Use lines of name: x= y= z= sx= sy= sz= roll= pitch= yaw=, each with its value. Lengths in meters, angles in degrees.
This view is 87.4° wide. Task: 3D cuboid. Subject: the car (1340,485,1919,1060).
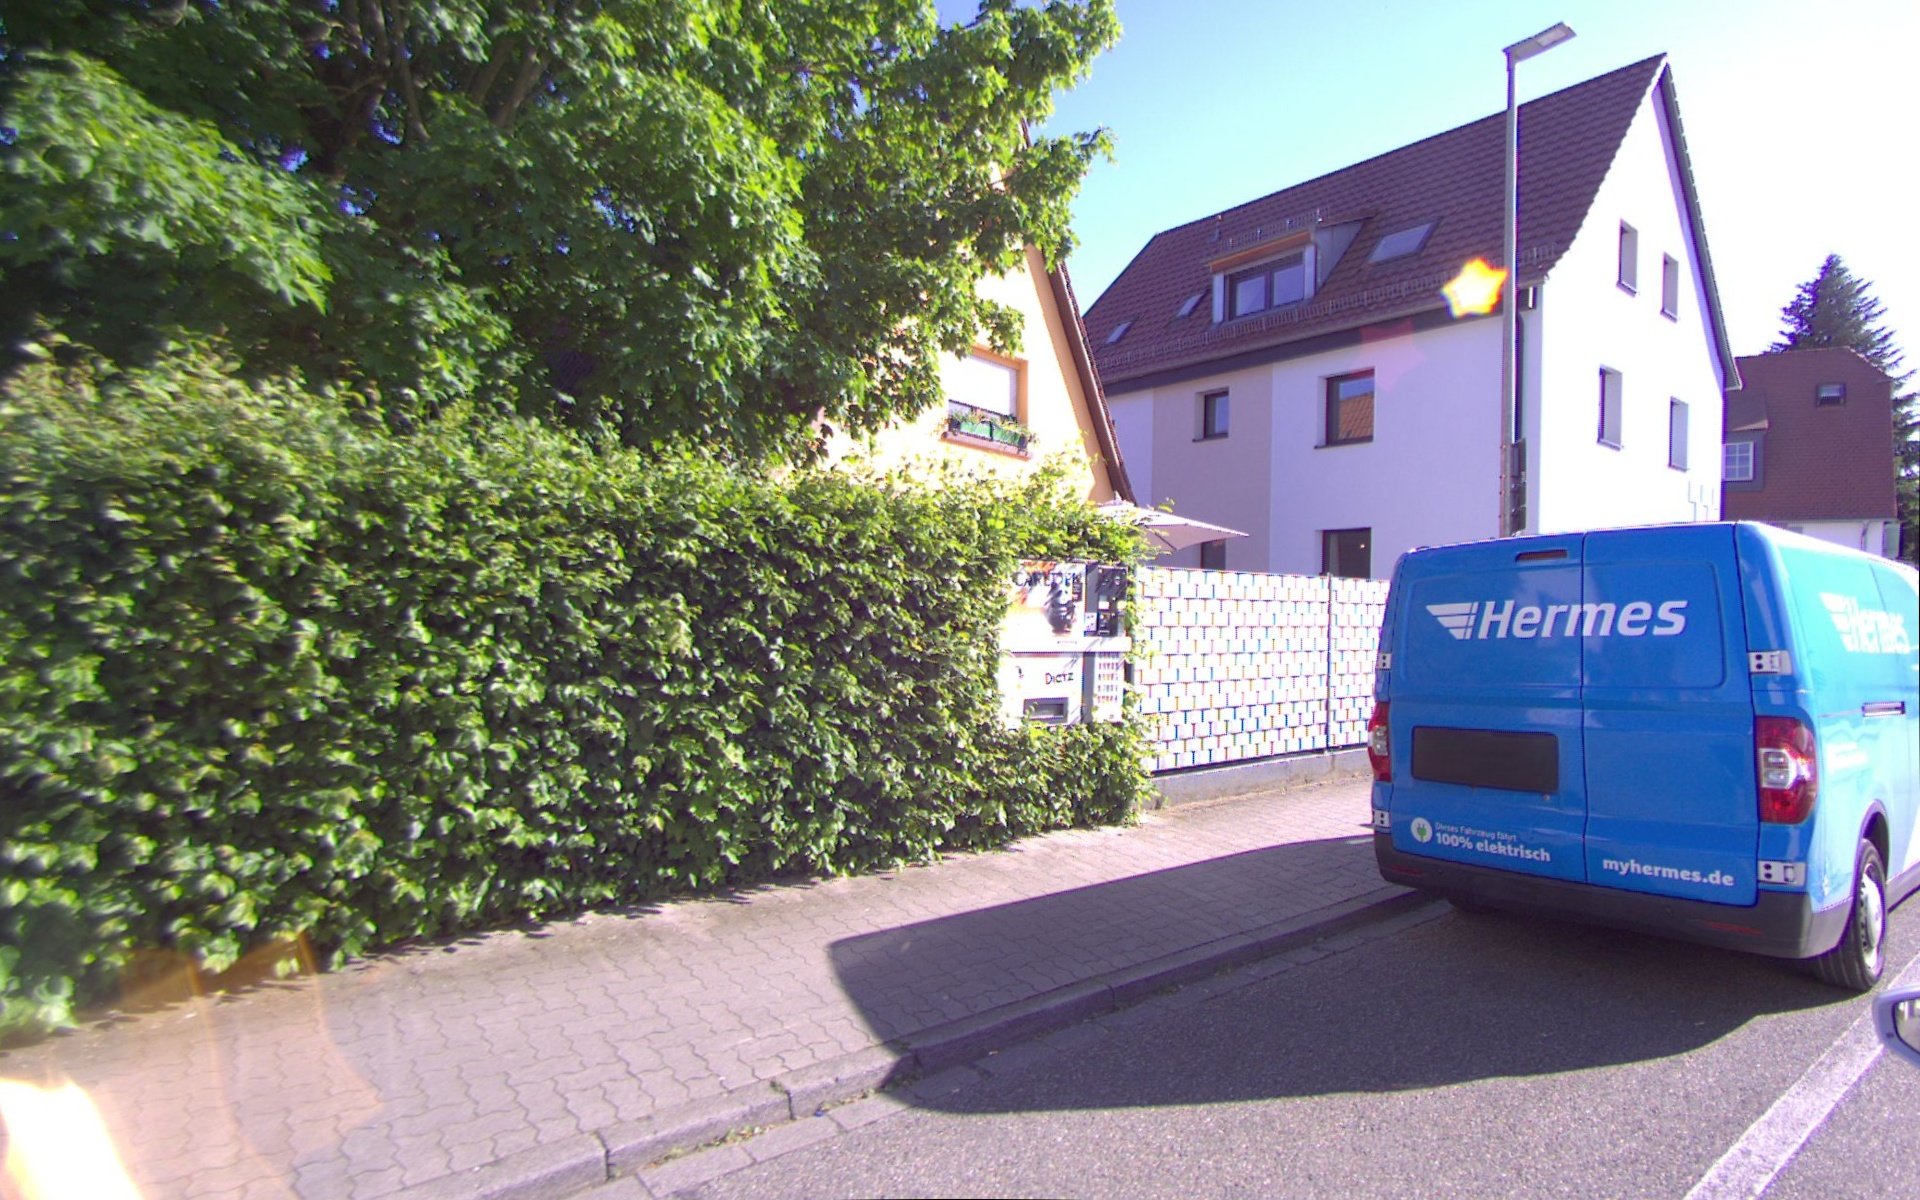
car: x=4.395 y=0.645 z=5.722 sx=5.025 sy=1.943 sz=1.888 roll=1 pitch=-2 yaw=-38

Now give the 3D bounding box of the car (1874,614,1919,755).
car: x=12.827 y=0.991 z=12.401 sx=3.891 sy=1.619 sz=1.701 roll=1 pitch=-2 yaw=-39
